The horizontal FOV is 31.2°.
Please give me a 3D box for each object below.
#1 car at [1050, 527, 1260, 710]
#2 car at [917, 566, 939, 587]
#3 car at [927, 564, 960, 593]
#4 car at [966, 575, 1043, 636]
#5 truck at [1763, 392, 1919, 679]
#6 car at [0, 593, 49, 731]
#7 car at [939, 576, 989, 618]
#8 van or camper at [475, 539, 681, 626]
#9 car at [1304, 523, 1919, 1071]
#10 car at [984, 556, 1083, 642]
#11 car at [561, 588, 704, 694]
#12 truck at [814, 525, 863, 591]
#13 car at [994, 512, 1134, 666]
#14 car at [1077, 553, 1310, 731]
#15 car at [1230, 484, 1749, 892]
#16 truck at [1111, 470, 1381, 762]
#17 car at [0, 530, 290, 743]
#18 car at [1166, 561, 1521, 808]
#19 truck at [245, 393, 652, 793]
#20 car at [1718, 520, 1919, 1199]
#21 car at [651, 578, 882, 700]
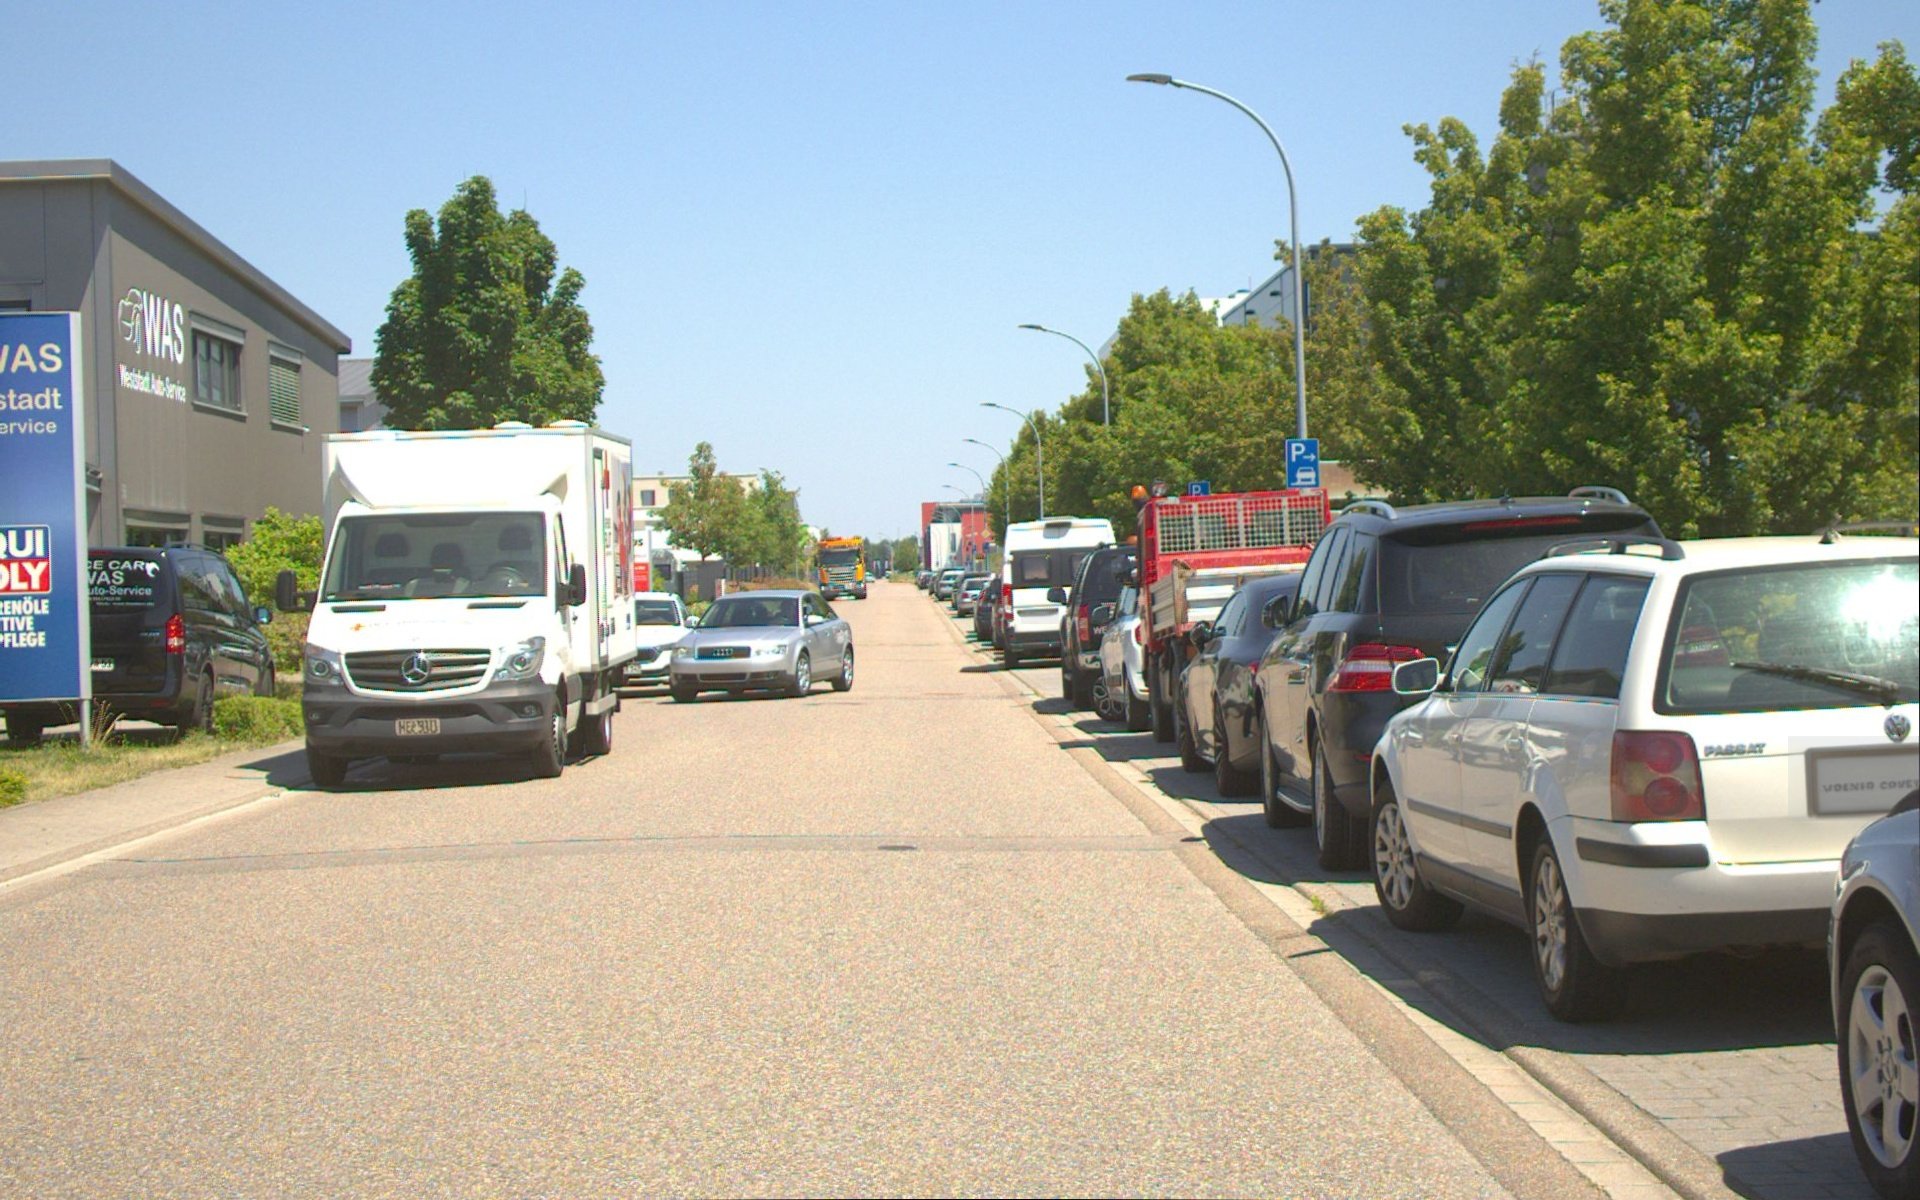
[{"bbox_3d":[2.163,0.189,39.558,1.993,1.878,5.156,-3,0,-1],"label":"car"},{"bbox_3d":[-2.231,-1.627,238.781,1.495,1.405,3.500,-2,1,-1],"label":"car"},{"bbox_3d":[-0.847,-1.074,173.970,1.585,1.405,3.500,-2,1,-1],"label":"car"},{"bbox_3d":[1.183,0.138,89.929,1.709,1.499,4.705,-2,0,4],"label":"car"},{"bbox_3d":[11.734,-0.737,36.315,5.821,2.903,2.415,-2,0,-1],"label":"truck"},{"bbox_3d":[-10.855,0.640,35.097,1.931,1.412,4.769,0,0,-1],"label":"car"},{"bbox_3d":[0.132,-0.118,126.781,1.718,1.445,3.646,-2,0,-1],"label":"car"},{"bbox_3d":[-14.259,-0.657,128.714,7.384,3.027,2.790,-2,1,-2],"label":"van or camper"},{"bbox_3d":[2.498,0.513,12.087,1.713,1.478,4.774,-3,1,-4],"label":"car"},{"bbox_3d":[1.625,-0.025,77.722,1.993,1.819,4.354,-2,0,-1],"label":"car"},{"bbox_3d":[-4.720,0.566,50.084,1.730,1.453,4.492,-1,0,-1],"label":"car"},{"bbox_3d":[-6.794,-2.367,193.139,2.448,3.501,8.273,-3,1,-1],"label":"truck"},{"bbox_3d":[1.790,-0.206,60.587,2.267,2.489,6.152,-2,0,1],"label":"car"},{"bbox_3d":[2.195,0.373,33.327,1.738,1.525,4.000,-3,0,-2],"label":"car"},{"bbox_3d":[2.538,0.355,17.649,1.811,1.719,4.774,-3,1,0],"label":"car"},{"bbox_3d":[2.318,0.114,28.860,1.679,2.174,4.390,-3,0,-1],"label":"truck"},{"bbox_3d":[-8.196,0.329,34.505,1.993,1.950,5.218,-1,0,-1],"label":"car"},{"bbox_3d":[2.437,0.493,22.945,1.698,1.378,4.837,-3,0,-1],"label":"car"},{"bbox_3d":[-4.097,-0.063,28.835,2.361,2.850,6.415,-3,0,-1],"label":"truck"},{"bbox_3d":[2.912,0.552,5.896,1.804,1.478,4.774,-3,1,-4],"label":"car"},{"bbox_3d":[-2.534,0.484,46.151,1.784,1.417,4.411,-3,0,14],"label":"car"}]
